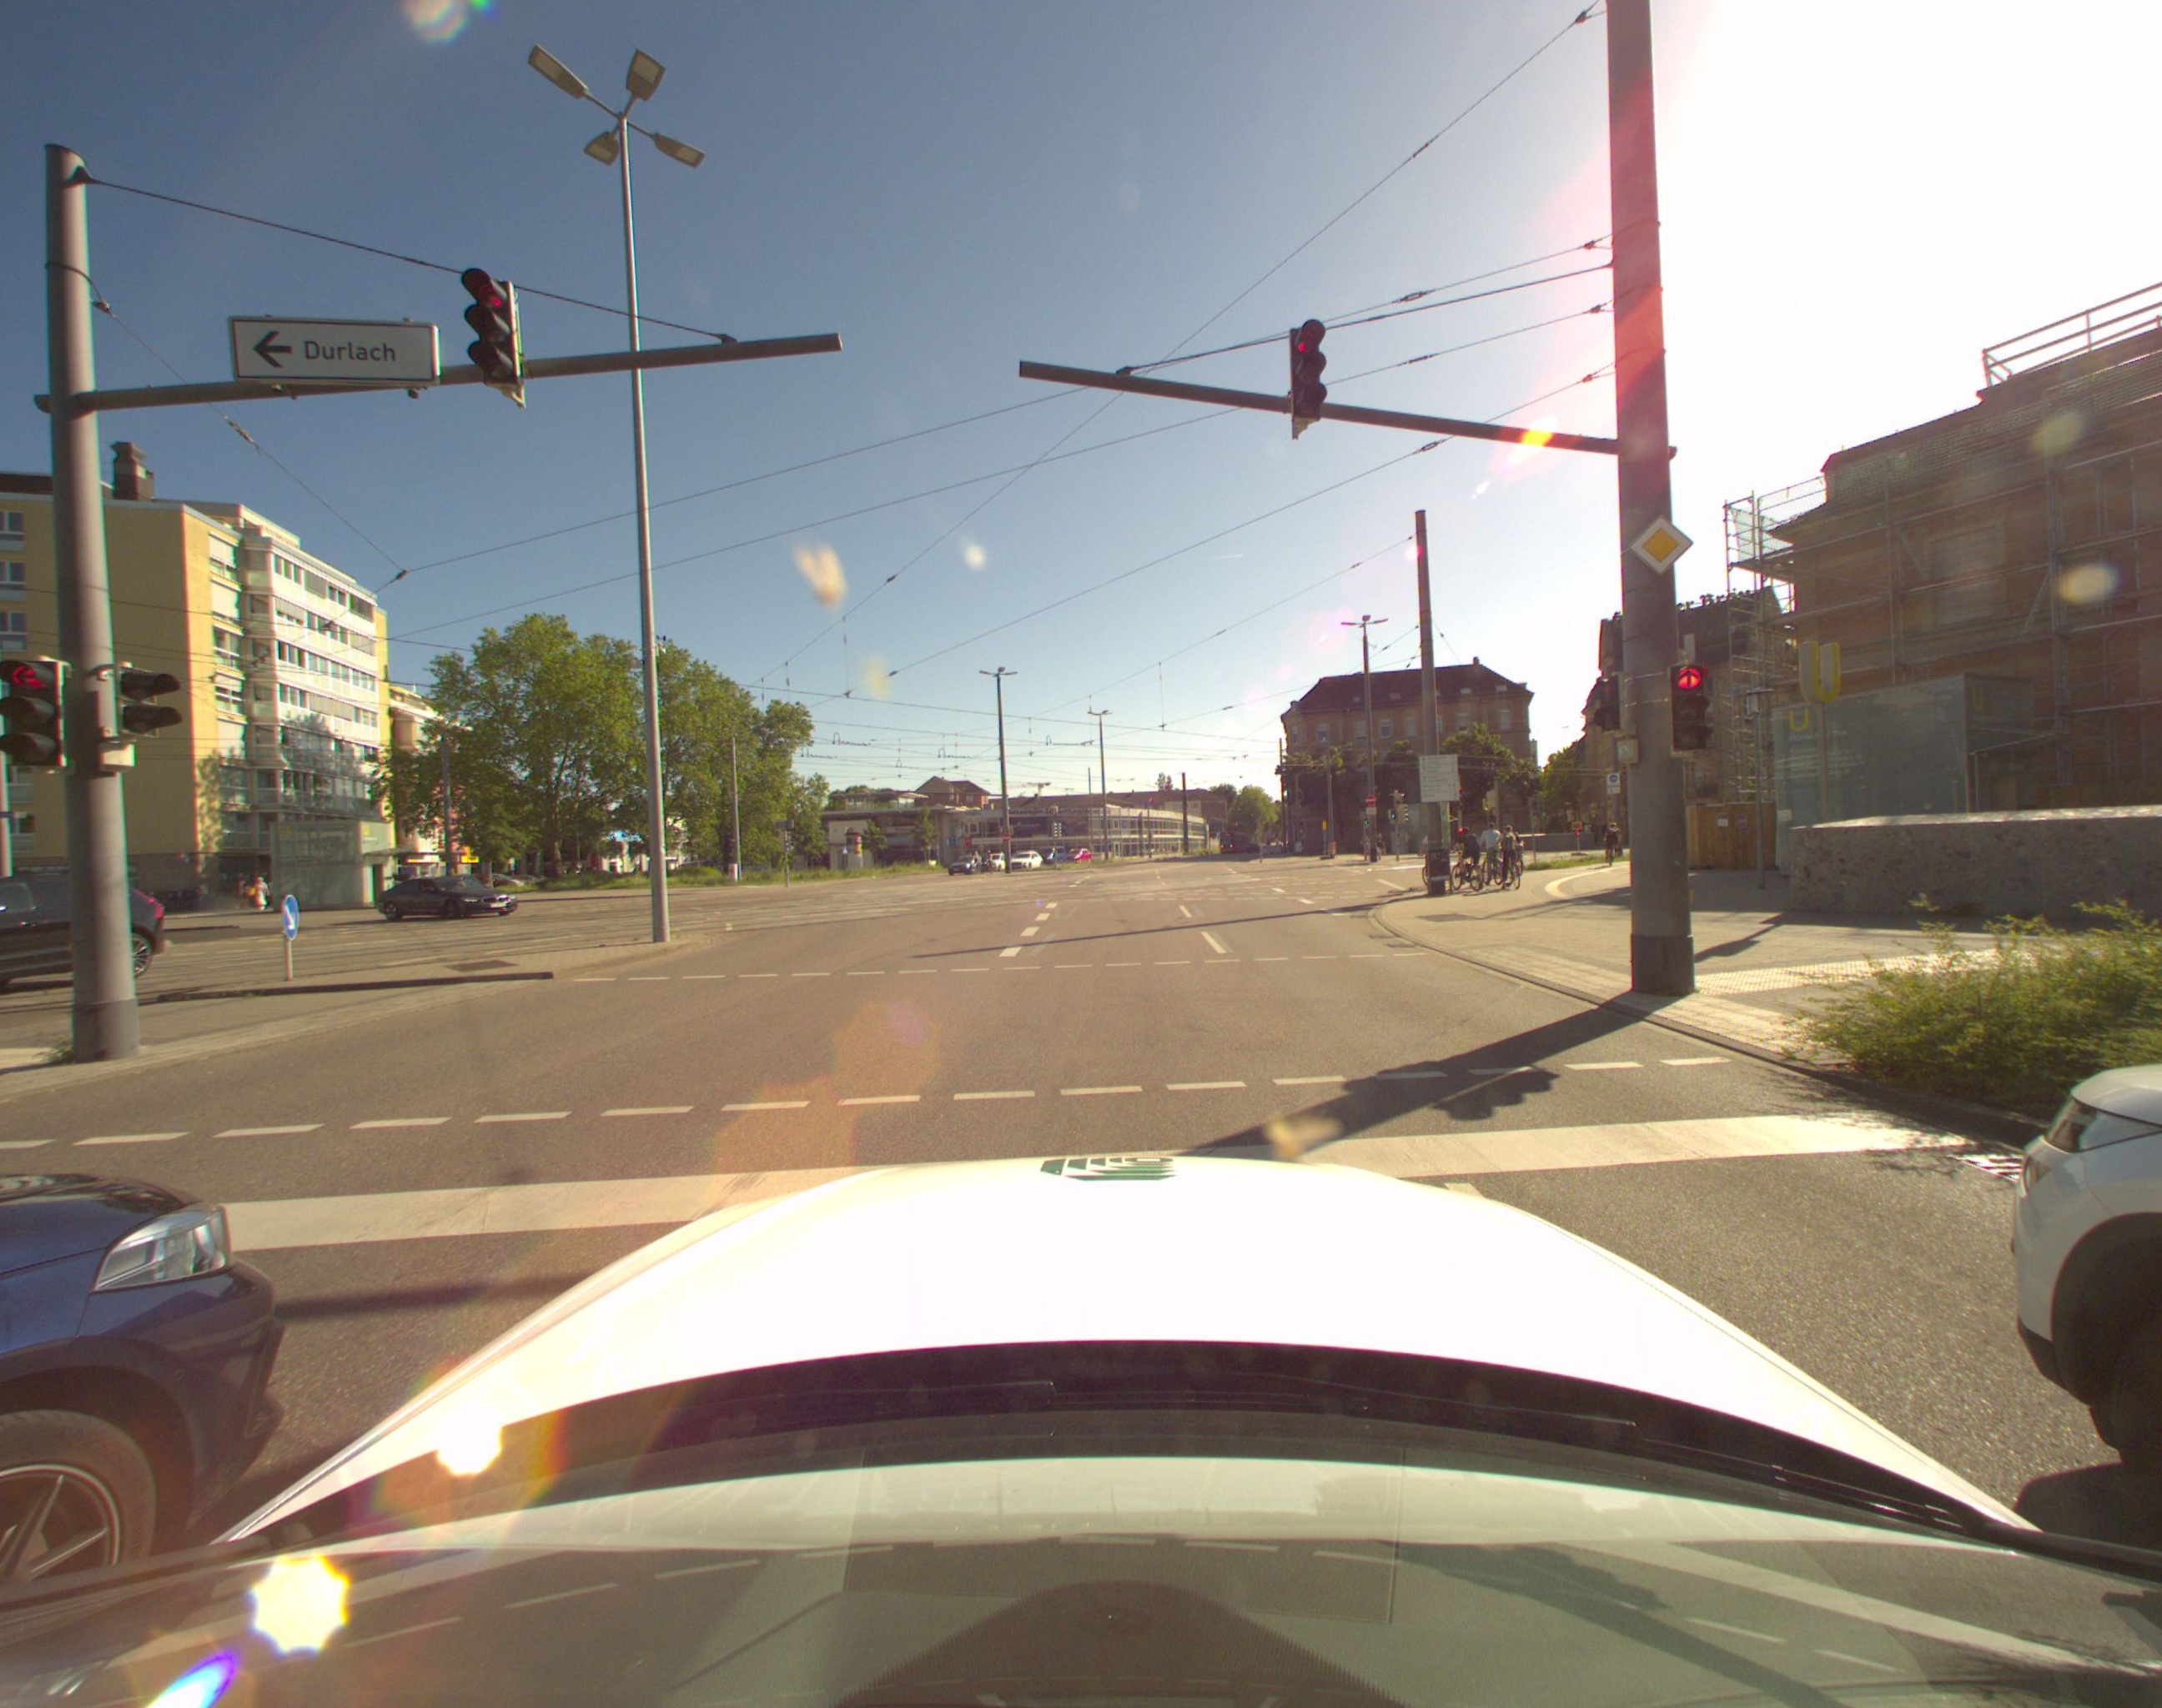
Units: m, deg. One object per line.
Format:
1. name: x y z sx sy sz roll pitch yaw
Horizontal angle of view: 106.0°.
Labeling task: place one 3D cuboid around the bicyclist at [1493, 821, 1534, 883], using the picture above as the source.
1. bicyclist: 11.733 -0.054 22.134 0.680 1.598 0.981 -4 0 14

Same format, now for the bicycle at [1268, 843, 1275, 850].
1. bicycle: 25.807 -1.018 110.320 0.737 0.870 1.941 -2 0 20

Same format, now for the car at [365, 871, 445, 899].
1. car: -45.780 2.059 55.227 3.742 1.662 1.585 -2 0 -18

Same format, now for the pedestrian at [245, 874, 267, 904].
1. pedestrian: -44.089 1.844 43.544 0.719 1.560 0.551 -2 0 -40

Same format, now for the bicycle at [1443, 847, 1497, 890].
1. bicycle: 10.816 0.387 22.719 0.623 1.114 1.852 -3 0 2

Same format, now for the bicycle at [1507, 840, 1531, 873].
1. bicycle: 15.655 0.084 29.137 0.566 1.125 1.750 -2 0 22

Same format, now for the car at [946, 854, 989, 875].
1. car: -8.500 0.773 61.241 1.689 1.354 3.719 -2 0 19

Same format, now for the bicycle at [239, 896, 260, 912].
1. bicycle: -44.113 2.643 43.200 0.489 0.812 1.595 -2 0 -35

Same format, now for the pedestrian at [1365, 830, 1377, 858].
1. pedestrian: 21.347 -0.718 59.932 0.574 2.013 0.449 -3 0 -16

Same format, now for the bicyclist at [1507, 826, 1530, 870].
1. bicyclist: 15.670 -0.218 29.174 0.566 1.568 0.952 -2 0 22

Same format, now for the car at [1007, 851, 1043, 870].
1. car: -4.474 0.508 65.221 1.613 1.382 3.754 -2 0 17

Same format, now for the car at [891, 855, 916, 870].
1. car: -21.868 1.065 100.593 1.958 1.706 4.085 -2 0 2

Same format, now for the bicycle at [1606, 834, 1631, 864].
1. bicycle: 20.457 -0.196 30.999 0.511 1.044 1.779 -4 0 41

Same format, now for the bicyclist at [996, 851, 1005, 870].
1. bicyclist: -7.275 0.560 73.752 0.564 1.713 0.651 -2 0 12

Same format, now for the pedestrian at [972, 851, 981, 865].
1. pedestrian: -9.076 0.359 70.706 0.419 1.204 0.684 -2 0 20

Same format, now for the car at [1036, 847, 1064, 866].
1. car: -2.992 0.232 79.214 1.613 1.692 3.702 -2 0 17

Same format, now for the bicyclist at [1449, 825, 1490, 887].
1. bicyclist: 10.798 0.054 22.646 0.623 1.637 0.995 -3 0 2

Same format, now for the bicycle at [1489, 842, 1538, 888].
1. bicycle: 11.771 0.279 22.213 0.680 1.163 1.891 -4 0 14

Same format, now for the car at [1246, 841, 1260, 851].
1. car: 26.594 -1.210 125.887 1.686 1.503 4.284 -2 0 17

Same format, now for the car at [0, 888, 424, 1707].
1. car: -2.671 0.824 0.150 1.704 1.445 4.034 -1 0 2

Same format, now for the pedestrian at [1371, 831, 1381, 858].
1. pedestrian: 21.783 -0.692 60.063 0.461 2.013 0.449 -3 0 -16

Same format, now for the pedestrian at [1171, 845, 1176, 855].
1. pedestrian: 14.827 -0.630 130.304 0.537 1.688 0.634 -2 0 23

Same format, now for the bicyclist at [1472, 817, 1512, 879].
1. bicyclist: 12.364 -0.174 24.516 0.742 1.778 0.926 -3 0 9

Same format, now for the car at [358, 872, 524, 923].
1. car: -21.689 1.464 27.675 4.523 1.501 1.871 -2 0 11

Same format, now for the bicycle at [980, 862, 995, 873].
1. bicycle: -6.936 1.013 60.552 0.419 0.718 1.642 -2 0 19

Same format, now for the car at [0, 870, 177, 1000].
1. car: -15.170 1.118 10.920 1.864 1.659 4.060 -2 0 -9

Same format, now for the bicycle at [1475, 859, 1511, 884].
1. bicycle: 12.419 0.521 24.572 0.534 0.655 1.471 -3 0 9

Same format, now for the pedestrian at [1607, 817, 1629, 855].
1. pedestrian: 20.433 -0.698 30.976 0.511 1.402 0.968 -4 0 41

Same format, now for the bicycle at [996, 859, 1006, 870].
1. bicycle: -7.239 0.953 73.830 0.464 0.926 1.480 -2 0 13

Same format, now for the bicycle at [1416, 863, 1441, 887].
1. bicycle: 11.018 0.651 25.878 0.532 0.655 1.733 -4 0 18

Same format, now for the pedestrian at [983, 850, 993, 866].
1. pedestrian: -6.913 0.280 60.729 0.419 1.204 0.753 -2 0 19

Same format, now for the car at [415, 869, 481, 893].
1. car: -49.867 2.115 64.245 3.742 1.662 1.585 -2 0 -18

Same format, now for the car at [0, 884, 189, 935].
1. car: -33.828 1.864 27.830 4.172 1.438 1.718 -2 0 -16

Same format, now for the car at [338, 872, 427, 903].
1. car: -42.906 2.022 50.116 3.742 1.662 1.585 -2 0 -18

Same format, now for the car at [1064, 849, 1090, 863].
1. car: -0.439 0.238 86.284 1.613 1.364 3.703 -2 0 18

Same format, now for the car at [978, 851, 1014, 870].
1. car: -6.979 0.553 67.164 1.613 1.424 3.702 -2 0 17

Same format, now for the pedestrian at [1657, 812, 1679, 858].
1. pedestrian: 24.844 -0.793 34.447 0.692 1.881 0.725 -2 0 36

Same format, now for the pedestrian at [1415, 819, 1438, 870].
1. pedestrian: 10.891 -0.285 25.714 0.544 1.562 0.862 -2 0 18

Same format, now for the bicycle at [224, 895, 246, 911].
1. bicycle: -45.555 2.615 43.868 0.462 0.780 1.789 -2 0 -35

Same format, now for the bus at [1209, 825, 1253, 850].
1. bus: 25.355 -2.598 135.681 3.806 3.607 24.982 -1 0 18
